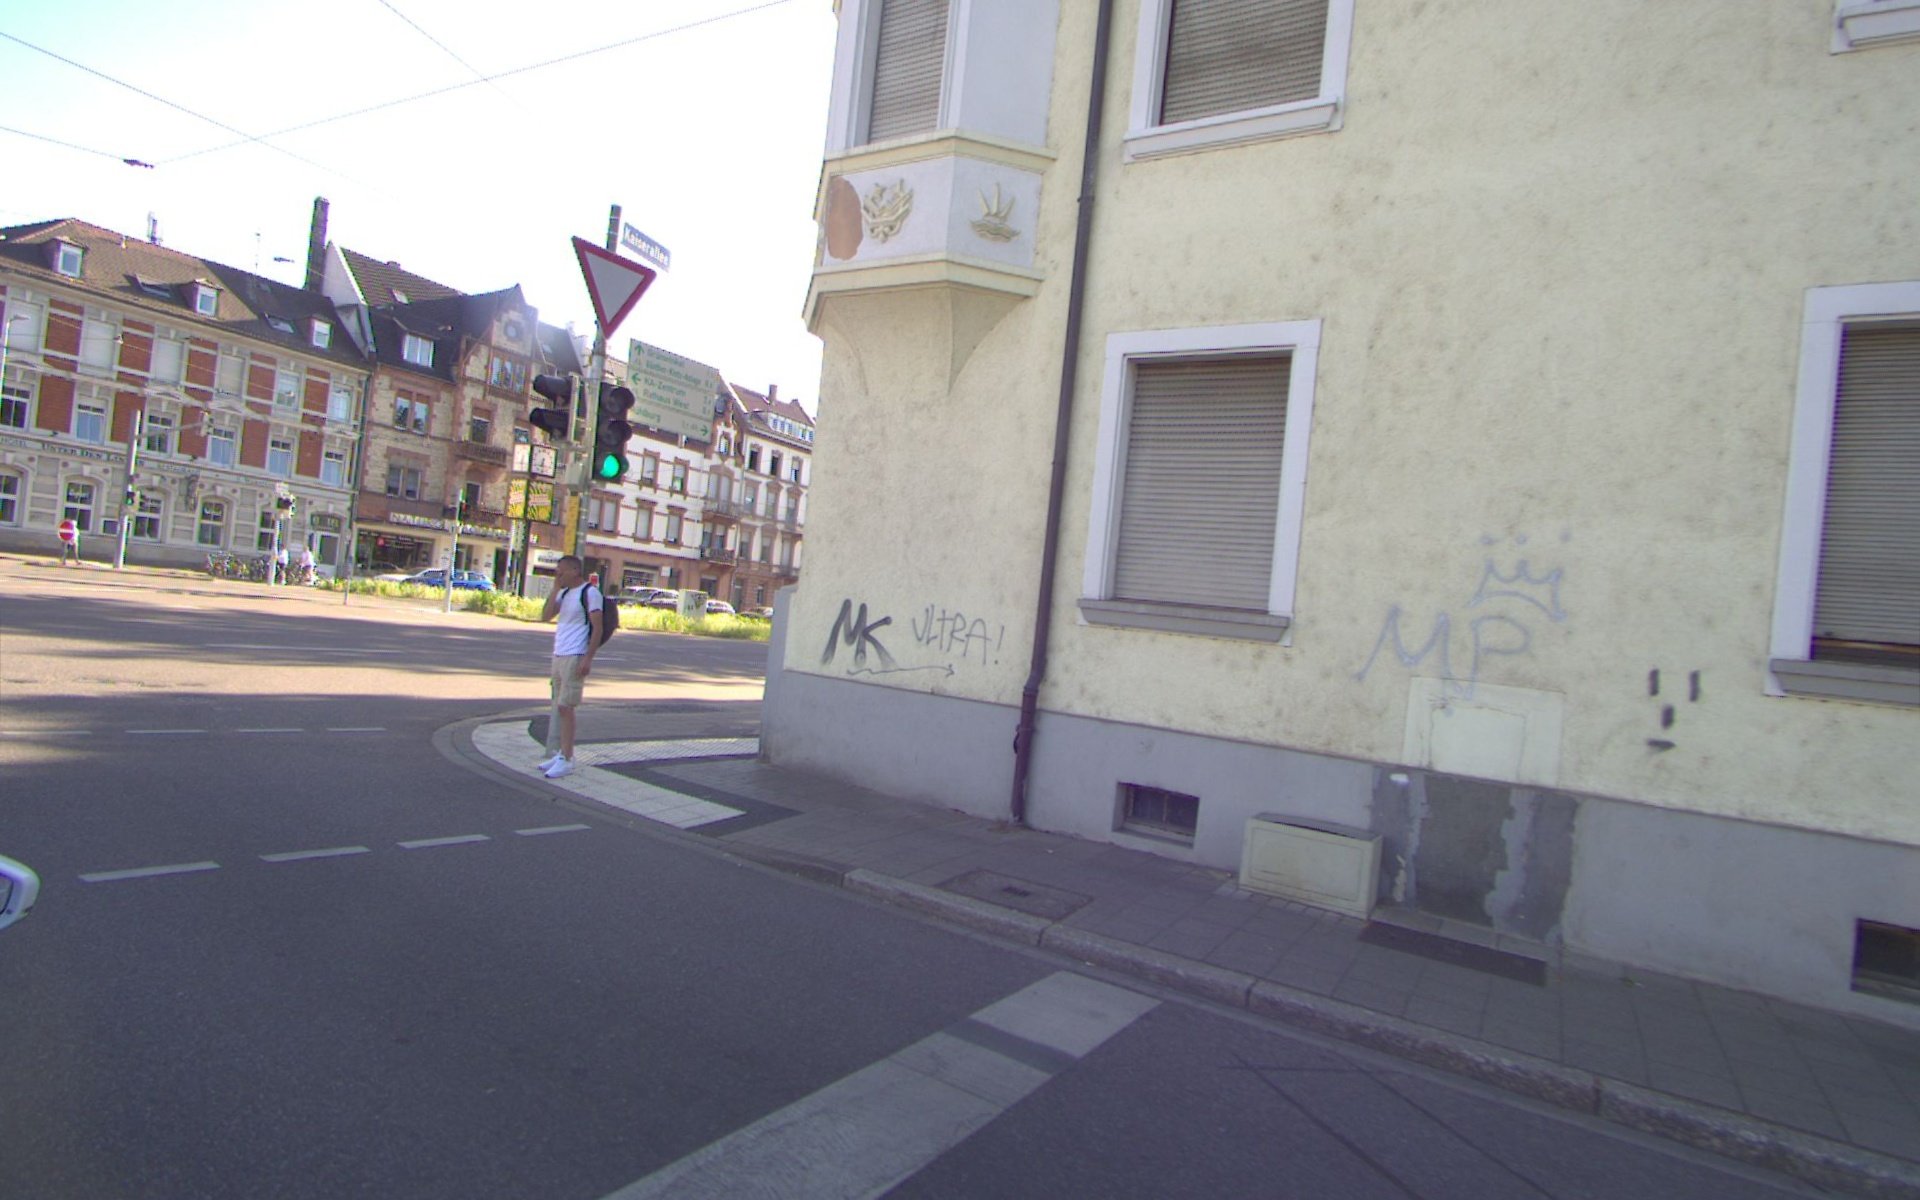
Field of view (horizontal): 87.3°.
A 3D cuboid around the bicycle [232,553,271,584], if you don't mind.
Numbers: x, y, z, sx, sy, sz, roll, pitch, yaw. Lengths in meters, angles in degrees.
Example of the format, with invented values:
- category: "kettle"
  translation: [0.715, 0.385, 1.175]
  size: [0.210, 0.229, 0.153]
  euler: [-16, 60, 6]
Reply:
- category: "bicycle"
  translation: [-31.757, -1.405, 45.071]
  size: [1.935, 1.205, 0.678]
  euler: [6, 0, 33]

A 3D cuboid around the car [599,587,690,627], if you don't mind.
- category: "car"
  translation: [-17.109, 0.420, 54.701]
  size: [1.922, 1.688, 4.479]
  euler: [6, -1, 31]

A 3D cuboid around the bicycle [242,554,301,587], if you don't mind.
- category: "bicycle"
  translation: [-29.944, -1.254, 43.789]
  size: [0.592, 1.205, 1.962]
  euler: [6, -1, 34]

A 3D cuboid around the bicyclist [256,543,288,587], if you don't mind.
- category: "bicyclist"
  translation: [-29.926, -1.520, 43.766]
  size: [0.592, 1.786, 0.873]
  euler: [6, 0, 34]

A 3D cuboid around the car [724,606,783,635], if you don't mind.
- category: "car"
  translation: [-15.134, 1.520, 73.814]
  size: [1.922, 1.688, 3.993]
  euler: [6, -1, 31]

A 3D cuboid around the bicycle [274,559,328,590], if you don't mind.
- category: "bicycle"
  translation: [-30.434, -1.152, 46.497]
  size: [0.667, 1.205, 1.968]
  euler: [6, -1, 20]

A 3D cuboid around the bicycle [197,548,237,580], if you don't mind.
- category: "bicycle"
  translation: [-32.431, -1.557, 43.900]
  size: [1.935, 1.205, 0.678]
  euler: [6, 0, 33]

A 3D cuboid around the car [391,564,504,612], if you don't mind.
- category: "car"
  translation: [-22.948, -0.507, 45.176]
  size: [1.922, 1.688, 3.993]
  euler: [6, -1, 31]

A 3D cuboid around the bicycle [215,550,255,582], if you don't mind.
- category: "bicycle"
  translation: [-32.087, -1.518, 44.514]
  size: [1.935, 1.205, 0.678]
  euler: [6, 0, 33]

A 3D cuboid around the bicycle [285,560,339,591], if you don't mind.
- category: "bicycle"
  translation: [-29.603, -1.103, 45.979]
  size: [0.591, 1.205, 1.964]
  euler: [6, -1, 29]

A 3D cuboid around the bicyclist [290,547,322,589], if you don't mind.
- category: "bicyclist"
  translation: [-29.719, -1.431, 45.706]
  size: [0.591, 1.785, 0.904]
  euler: [6, 0, 30]

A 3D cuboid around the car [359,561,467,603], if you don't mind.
- category: "car"
  translation: [-25.383, -0.824, 46.809]
  size: [1.815, 1.429, 3.993]
  euler: [6, -1, 31]

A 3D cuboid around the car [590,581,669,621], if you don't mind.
- category: "car"
  translation: [-20.825, 0.092, 63.535]
  size: [1.922, 1.988, 4.411]
  euler: [6, -1, 31]

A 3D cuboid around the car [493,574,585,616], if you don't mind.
- category: "car"
  translation: [-21.963, -0.243, 52.591]
  size: [1.922, 1.688, 3.993]
  euler: [6, -1, 31]

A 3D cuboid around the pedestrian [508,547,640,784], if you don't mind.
- category: "pedestrian"
  translation: [-3.054, 0.497, 8.011]
  size: [0.661, 1.764, 0.689]
  euler: [4, 2, 4]

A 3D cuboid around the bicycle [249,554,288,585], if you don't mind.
- category: "bicycle"
  translation: [-31.397, -1.387, 45.644]
  size: [1.935, 1.205, 0.678]
  euler: [6, 0, 33]

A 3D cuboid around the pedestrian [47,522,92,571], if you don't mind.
- category: "pedestrian"
  translation: [-33.485, -2.013, 37.836]
  size: [0.921, 1.690, 0.718]
  euler: [6, 0, 3]

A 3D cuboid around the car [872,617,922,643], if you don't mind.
- category: "car"
  translation: [-5.574, 2.686, 89.218]
  size: [1.922, 1.884, 4.795]
  euler: [6, -1, 31]

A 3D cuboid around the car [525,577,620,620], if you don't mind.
- category: "car"
  translation: [-19.473, -0.052, 50.686]
  size: [1.922, 1.688, 3.993]
  euler: [6, -1, 31]
